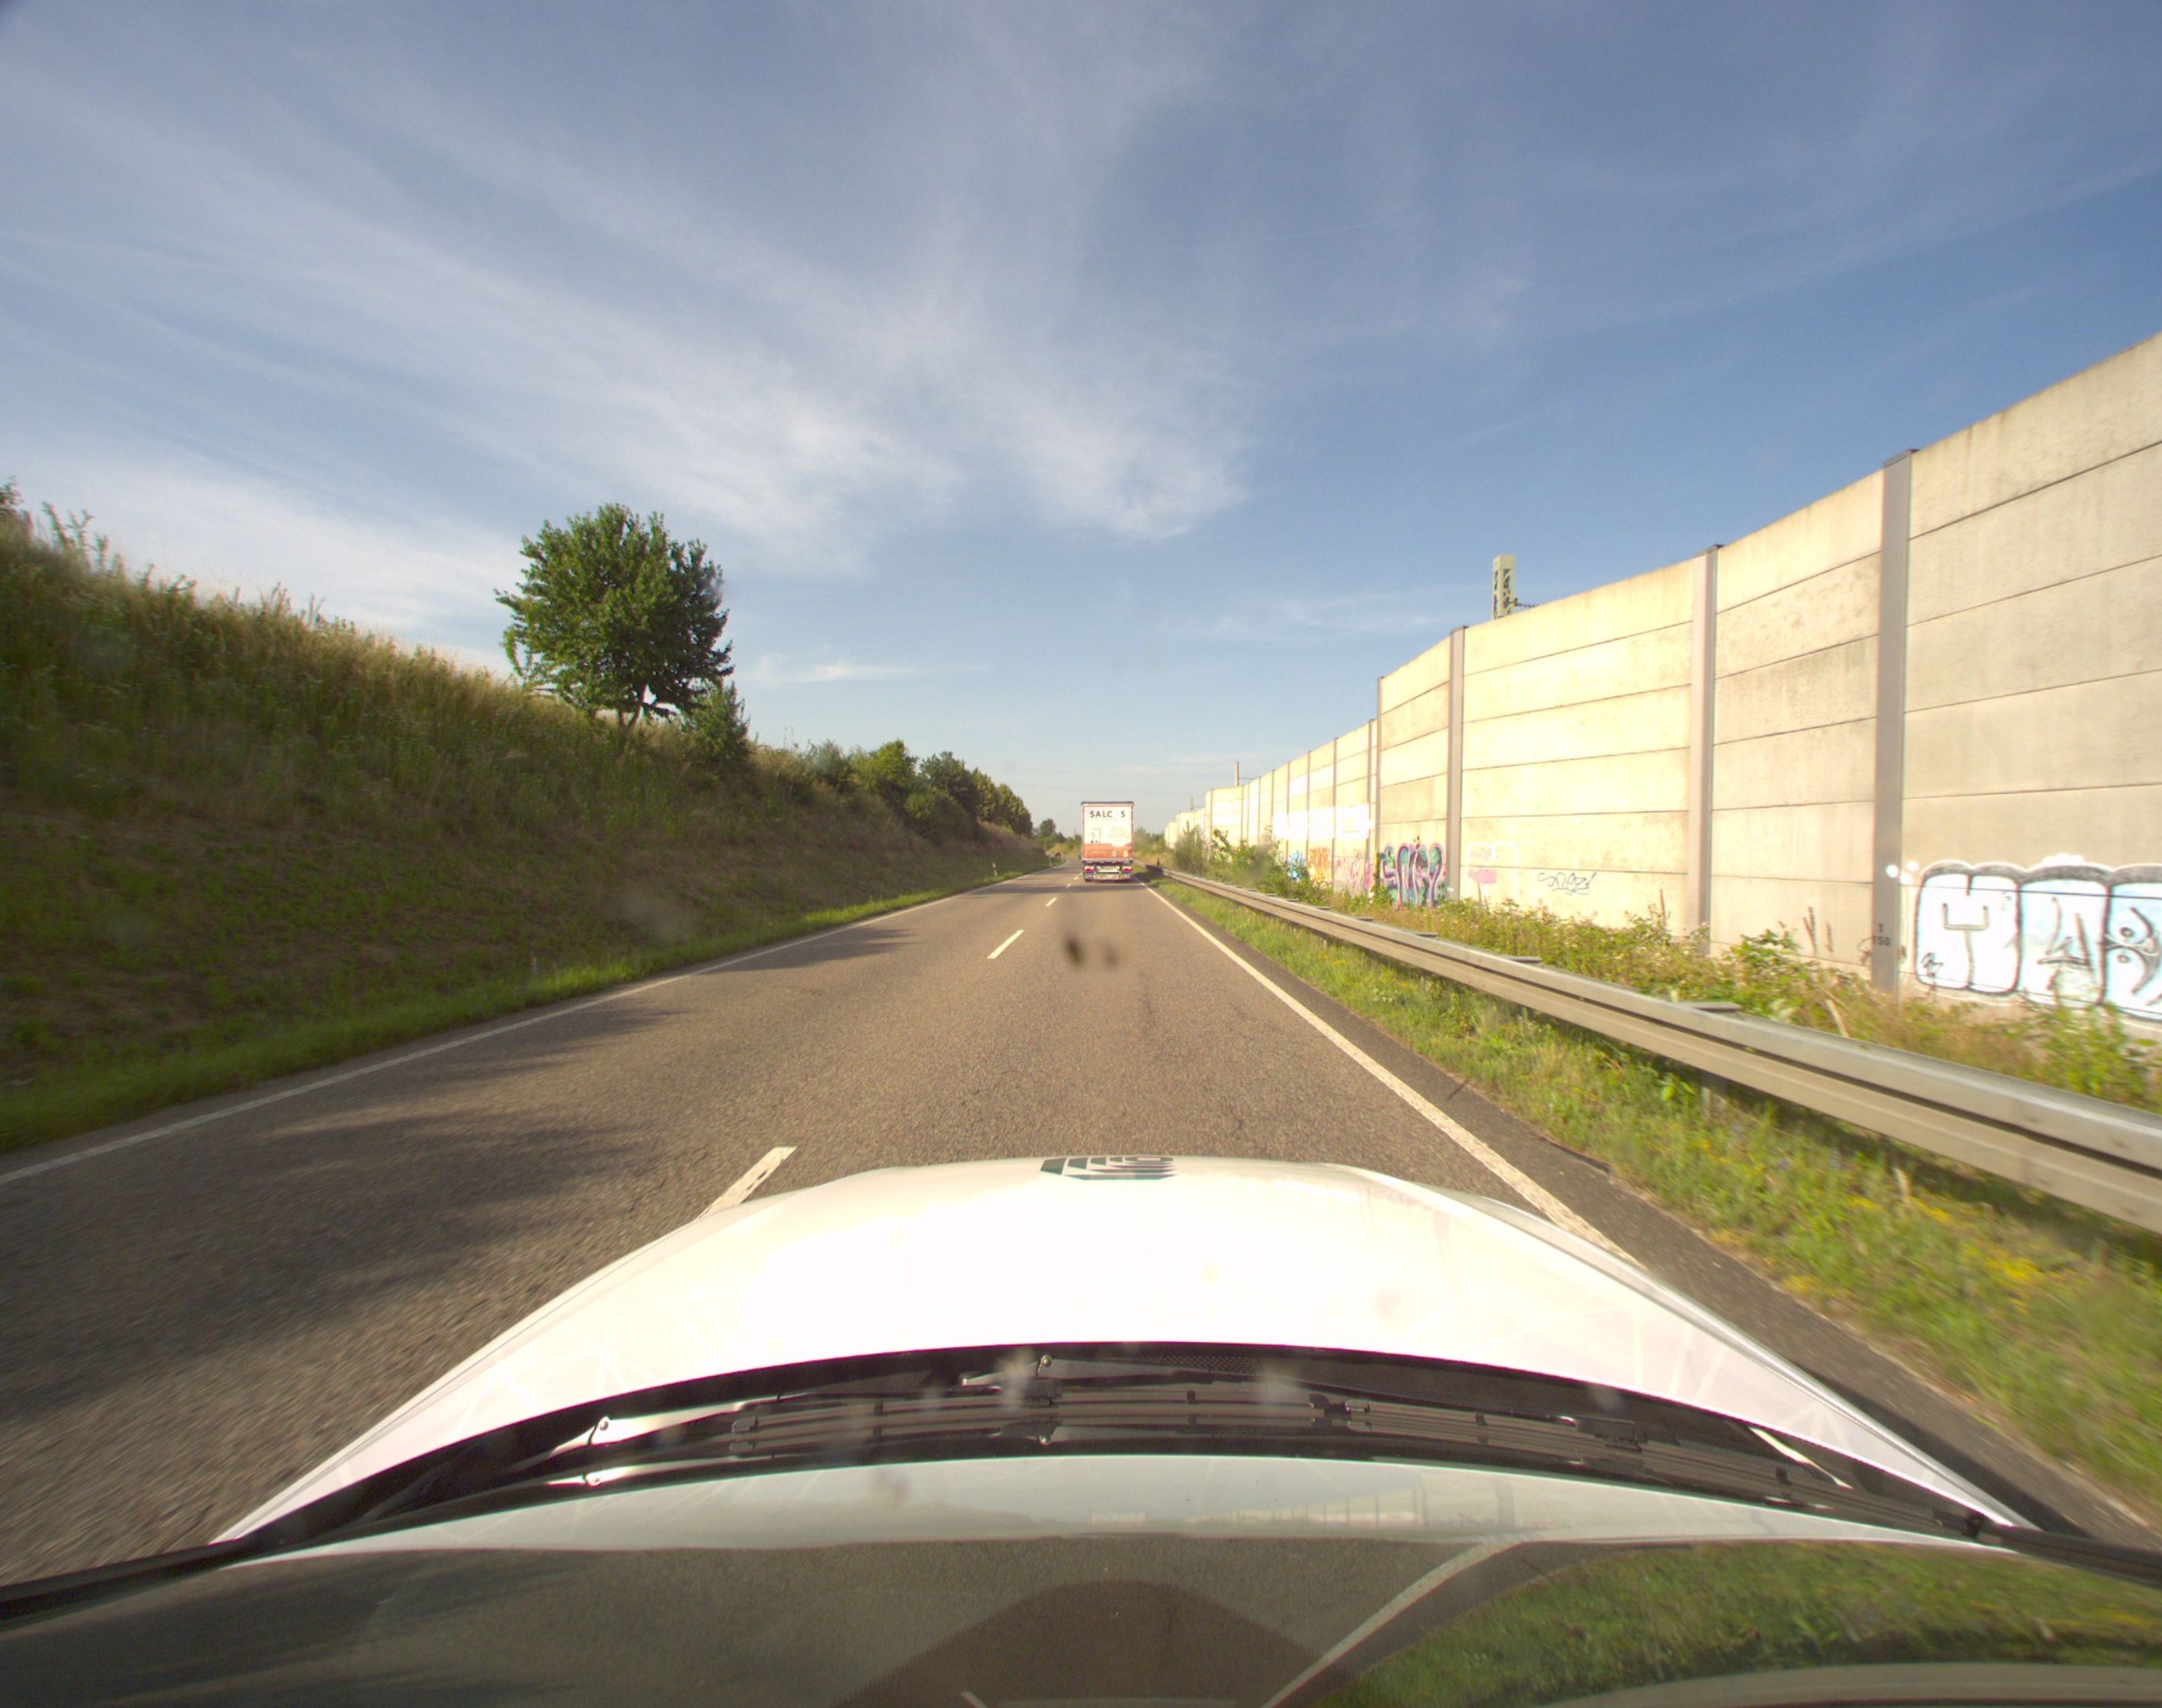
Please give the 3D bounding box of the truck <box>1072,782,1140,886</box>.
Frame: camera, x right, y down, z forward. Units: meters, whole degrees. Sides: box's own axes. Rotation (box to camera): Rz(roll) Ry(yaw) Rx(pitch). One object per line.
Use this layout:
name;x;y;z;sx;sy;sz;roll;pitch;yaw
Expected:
truck;1.218;-1.048;45.974;3.280;5.090;12.036;-1;0;0

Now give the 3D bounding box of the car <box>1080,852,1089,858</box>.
car;0.881;0.258;204.230;2.039;1.581;4.361;0;0;2
